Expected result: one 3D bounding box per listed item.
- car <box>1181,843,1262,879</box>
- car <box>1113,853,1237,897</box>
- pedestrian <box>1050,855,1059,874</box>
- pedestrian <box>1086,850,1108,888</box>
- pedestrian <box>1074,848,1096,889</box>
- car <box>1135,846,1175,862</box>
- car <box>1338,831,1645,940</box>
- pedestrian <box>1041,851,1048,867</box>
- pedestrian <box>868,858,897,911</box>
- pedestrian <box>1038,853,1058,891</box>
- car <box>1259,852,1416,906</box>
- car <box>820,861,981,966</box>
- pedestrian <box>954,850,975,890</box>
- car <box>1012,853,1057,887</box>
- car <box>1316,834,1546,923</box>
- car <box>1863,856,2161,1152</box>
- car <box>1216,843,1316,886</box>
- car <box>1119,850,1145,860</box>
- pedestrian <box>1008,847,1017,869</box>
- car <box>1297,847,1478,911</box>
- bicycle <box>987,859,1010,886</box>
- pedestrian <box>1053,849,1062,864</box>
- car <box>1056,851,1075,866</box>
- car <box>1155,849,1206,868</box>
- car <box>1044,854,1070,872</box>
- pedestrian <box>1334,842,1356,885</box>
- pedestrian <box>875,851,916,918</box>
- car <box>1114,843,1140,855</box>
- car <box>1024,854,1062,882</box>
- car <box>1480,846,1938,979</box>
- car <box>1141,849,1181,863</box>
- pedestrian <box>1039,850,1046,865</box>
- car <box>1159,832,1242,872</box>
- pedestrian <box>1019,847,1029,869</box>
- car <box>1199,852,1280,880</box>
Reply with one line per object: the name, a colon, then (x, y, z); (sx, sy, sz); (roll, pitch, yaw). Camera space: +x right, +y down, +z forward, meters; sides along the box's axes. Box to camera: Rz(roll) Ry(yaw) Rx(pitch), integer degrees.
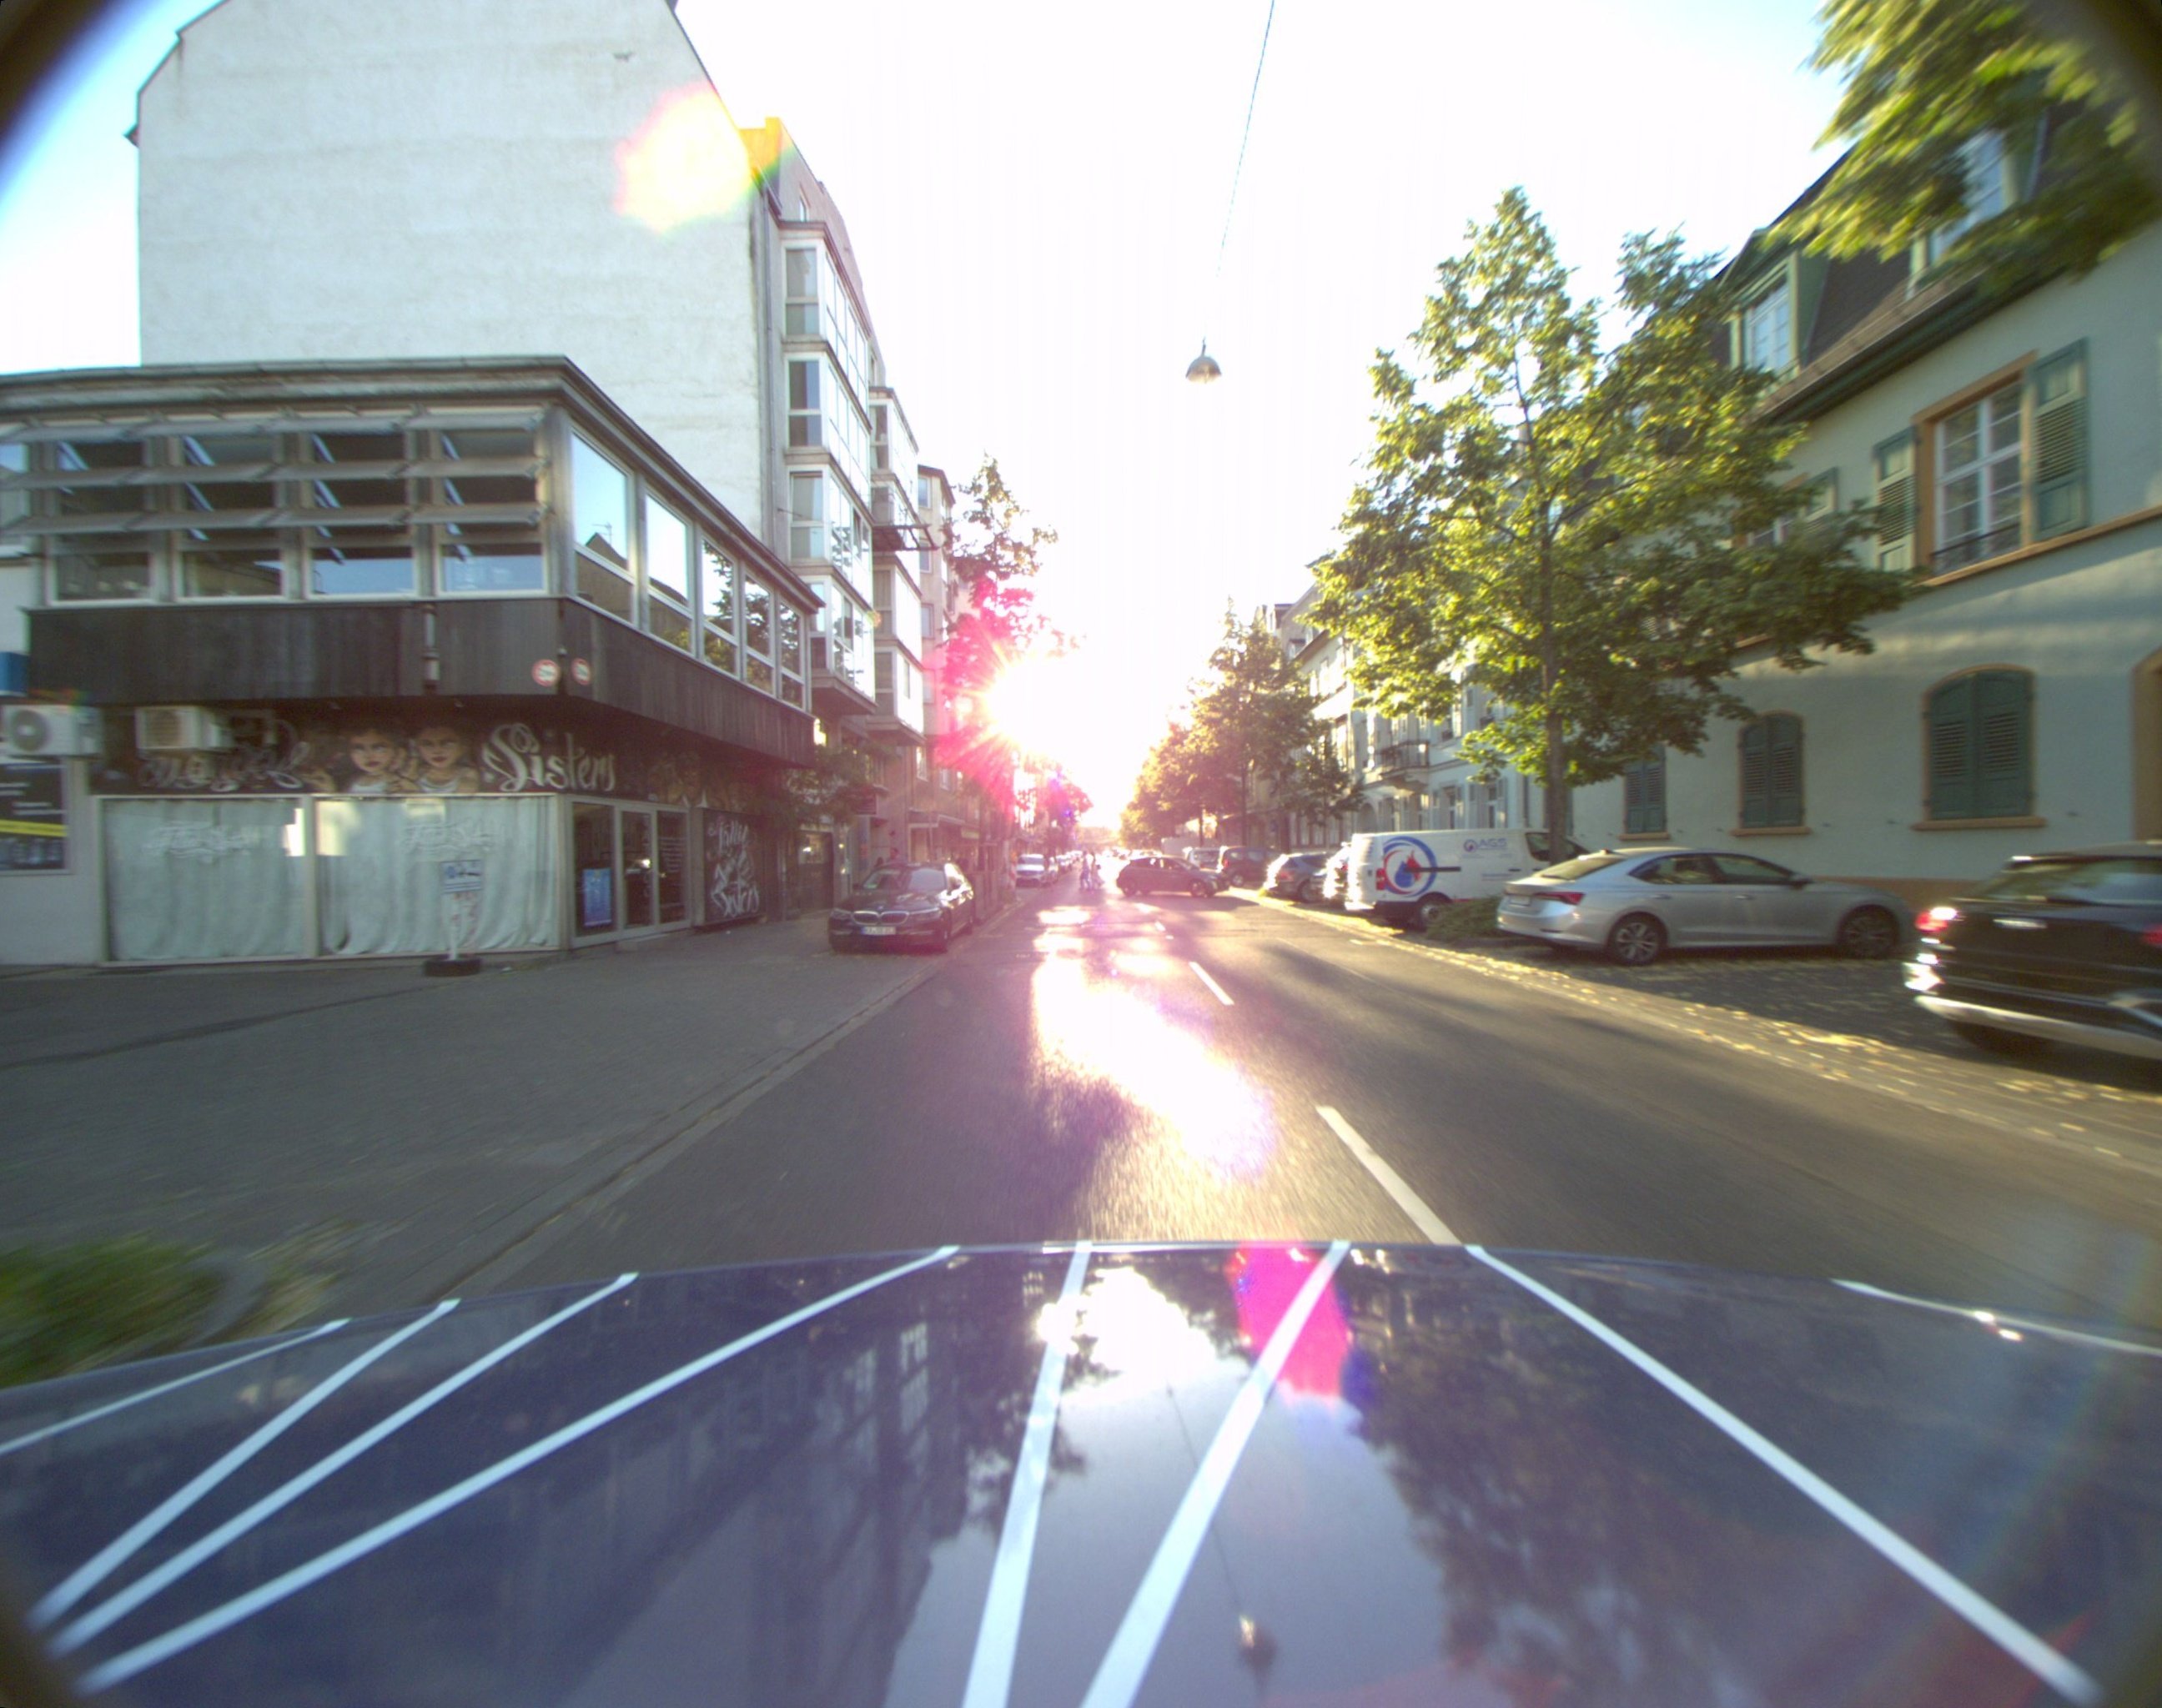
car: (8.258, 0.387, 44.980); (4.510, 1.942, 1.919); (-2, 0, 3)
car: (3.346, 0.742, 27.187); (4.061, 1.453, 1.689); (-1, 0, 27)
pedestrian: (-1.862, 0.723, 52.836); (0.579, 1.311, 0.704); (1, 1, 1)
pedestrian: (0.718, 0.653, 33.769); (0.924, 1.685, 0.762); (-1, 1, 2)
pedestrian: (0.188, 0.619, 33.057); (0.924, 1.749, 0.762); (0, 1, 2)
car: (9.244, 0.010, 94.961); (4.718, 1.800, 2.053); (-3, 0, 2)
car: (7.780, 0.573, 14.789); (4.882, 1.897, 1.974); (-1, 0, 1)
pedestrian: (-3.642, 0.492, 75.212); (0.626, 1.480, 0.640); (0, 1, 2)
pedestrian: (-5.795, 0.883, 22.205); (0.612, 1.516, 0.773); (0, 1, 1)
pedestrian: (-1.462, 0.797, 33.613); (0.829, 1.629, 0.827); (-1, 1, 2)
car: (7.576, 0.712, 22.732); (4.047, 1.475, 1.963); (-1, 0, 1)
car: (-3.039, 0.920, 13.861); (1.833, 1.479, 4.849); (1, 0, -1)
pedestrian: (-5.008, 0.692, 32.732); (0.790, 1.694, 0.700); (0, 1, 1)
car: (-2.339, 0.779, 39.058); (1.884, 1.565, 4.692); (1, 0, 2)
car: (7.965, 0.534, 17.611); (4.439, 1.859, 1.894); (-1, 0, 2)
car: (7.695, 0.763, 4.545); (3.932, 1.492, 1.905); (-2, 0, 4)
car: (8.379, 0.468, 34.675); (4.147, 1.796, 1.807); (-1, 0, 3)
car: (9.030, 0.149, 135.107); (4.579, 1.548, 1.809); (-1, 0, -37)
pedestrian: (-5.729, 0.333, 63.807); (0.590, 1.799, 0.836); (2, 1, 1)
car: (8.042, 0.646, 20.255); (4.046, 1.546, 1.965); (-1, 0, 3)
bicycle: (-4.011, 0.904, 37.112); (0.777, 1.255, 2.050); (1, 0, 2)
pedestrian: (-2.941, 0.308, 95.723); (1.049, 1.775, 0.945); (2, 1, 1)
car: (-1.569, 0.472, 78.468); (1.726, 1.484, 4.752); (1, 0, 0)
car: (8.714, 0.353, 67.111); (4.196, 1.474, 1.970); (-3, 0, 0)
car: (-2.038, 0.741, 66.087); (1.778, 1.431, 5.001); (1, 0, 3)
pedestrian: (11.288, 0.404, 32.553); (0.664, 1.791, 0.780); (-1, 1, 1)
pedestrian: (-4.995, 0.801, 20.518); (0.858, 1.784, 0.997); (0, 1, 1)
car: (9.144, -0.996, 152.049); (4.782, 2.344, 2.153); (-1, 0, -27)
car: (-2.187, 0.777, 45.159); (1.846, 1.472, 5.190); (1, 0, 1)
car: (8.010, 0.717, 10.047); (4.488, 1.476, 1.734); (-2, 0, 3)
car: (9.124, 0.219, 87.038); (4.393, 1.414, 1.822); (-3, 0, 1)
pedestrian: (-4.549, 0.428, 90.326); (0.756, 1.748, 0.812); (-1, 1, 1)
car: (8.702, -0.171, 55.620); (5.672, 2.606, 2.171); (-3, 0, 1)
pedestrian: (-4.789, 0.336, 63.818); (0.627, 1.857, 0.976); (2, 1, 1)
car: (8.744, 0.668, 42.142); (4.162, 1.431, 1.594); (-2, 0, 2)
